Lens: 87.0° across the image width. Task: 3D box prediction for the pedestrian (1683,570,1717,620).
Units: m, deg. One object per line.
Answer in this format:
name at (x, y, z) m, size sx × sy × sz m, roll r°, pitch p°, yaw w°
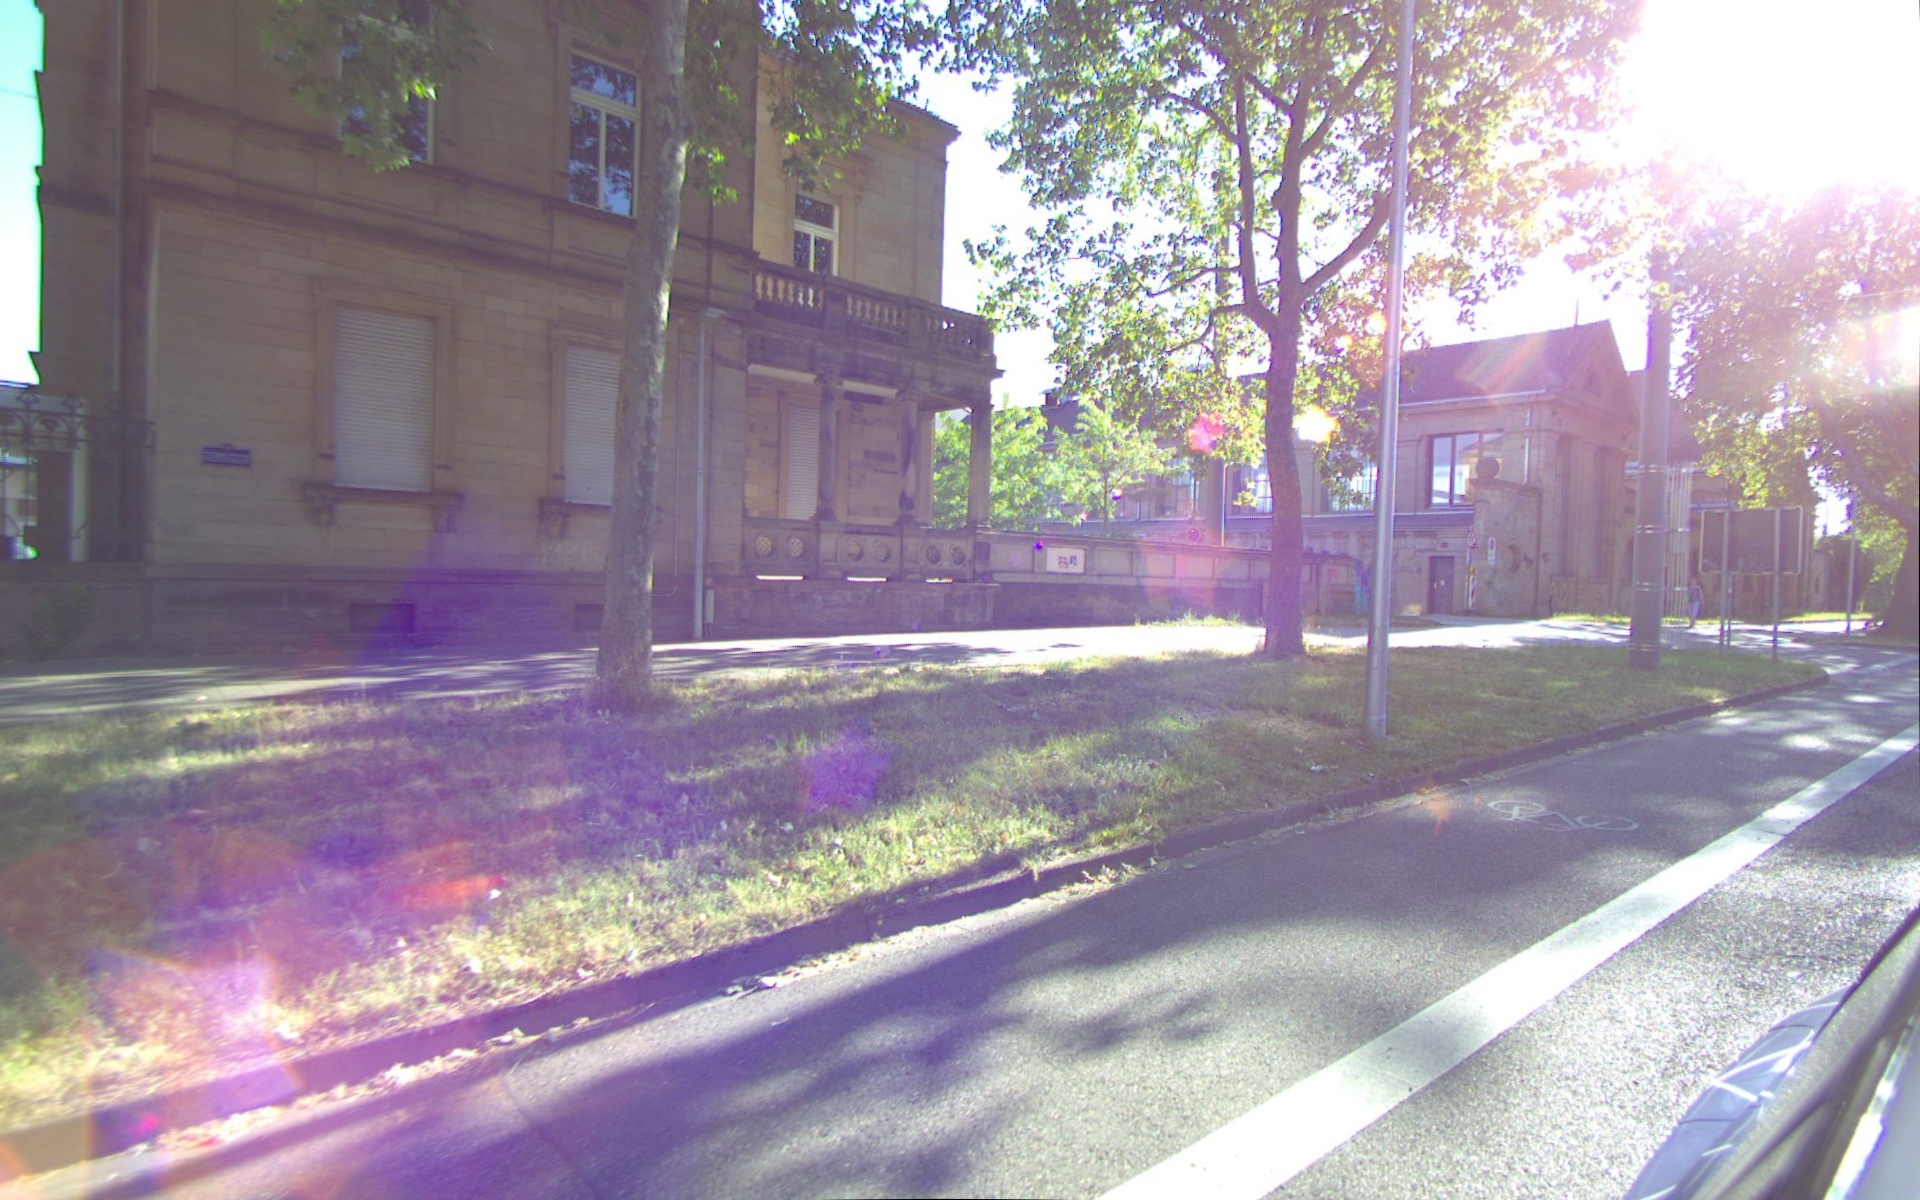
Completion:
pedestrian at (25.603, -0.190, 35.023) m, size 0.858 × 1.682 × 0.672 m, roll 1°, pitch 3°, yaw -39°
